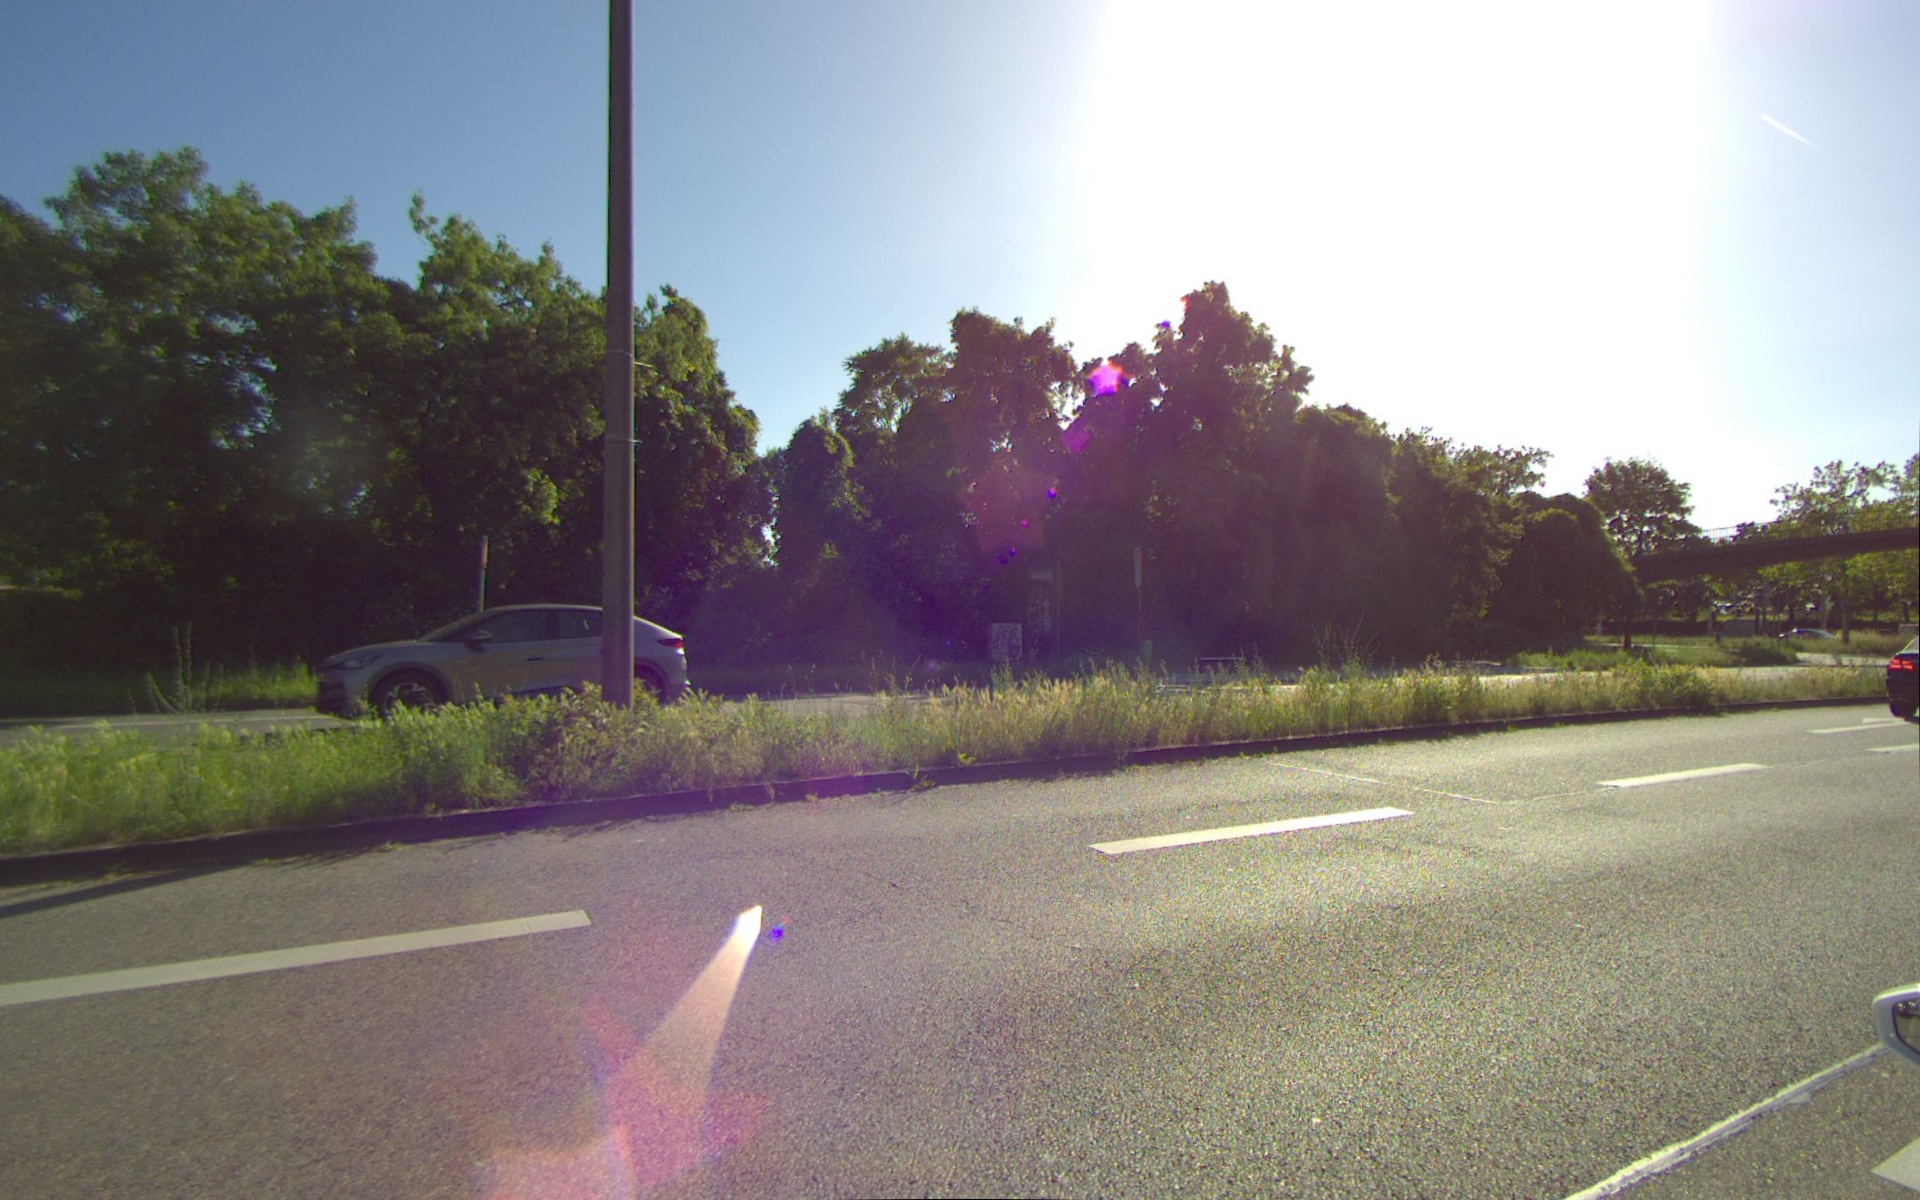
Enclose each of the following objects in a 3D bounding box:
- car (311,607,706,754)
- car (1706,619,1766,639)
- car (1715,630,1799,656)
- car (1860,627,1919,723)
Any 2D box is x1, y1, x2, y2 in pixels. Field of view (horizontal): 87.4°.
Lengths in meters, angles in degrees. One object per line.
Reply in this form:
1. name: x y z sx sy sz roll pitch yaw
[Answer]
1. car: -5.947 0.984 13.483 4.574 1.661 1.799 2 -1 -35
2. car: 83.212 3.086 107.790 1.976 2.040 4.765 2 -1 -29
3. car: 55.234 2.960 69.732 1.965 1.672 4.311 2 -1 -12
4. car: 17.353 1.247 16.959 4.863 1.502 1.949 2 -2 -32
